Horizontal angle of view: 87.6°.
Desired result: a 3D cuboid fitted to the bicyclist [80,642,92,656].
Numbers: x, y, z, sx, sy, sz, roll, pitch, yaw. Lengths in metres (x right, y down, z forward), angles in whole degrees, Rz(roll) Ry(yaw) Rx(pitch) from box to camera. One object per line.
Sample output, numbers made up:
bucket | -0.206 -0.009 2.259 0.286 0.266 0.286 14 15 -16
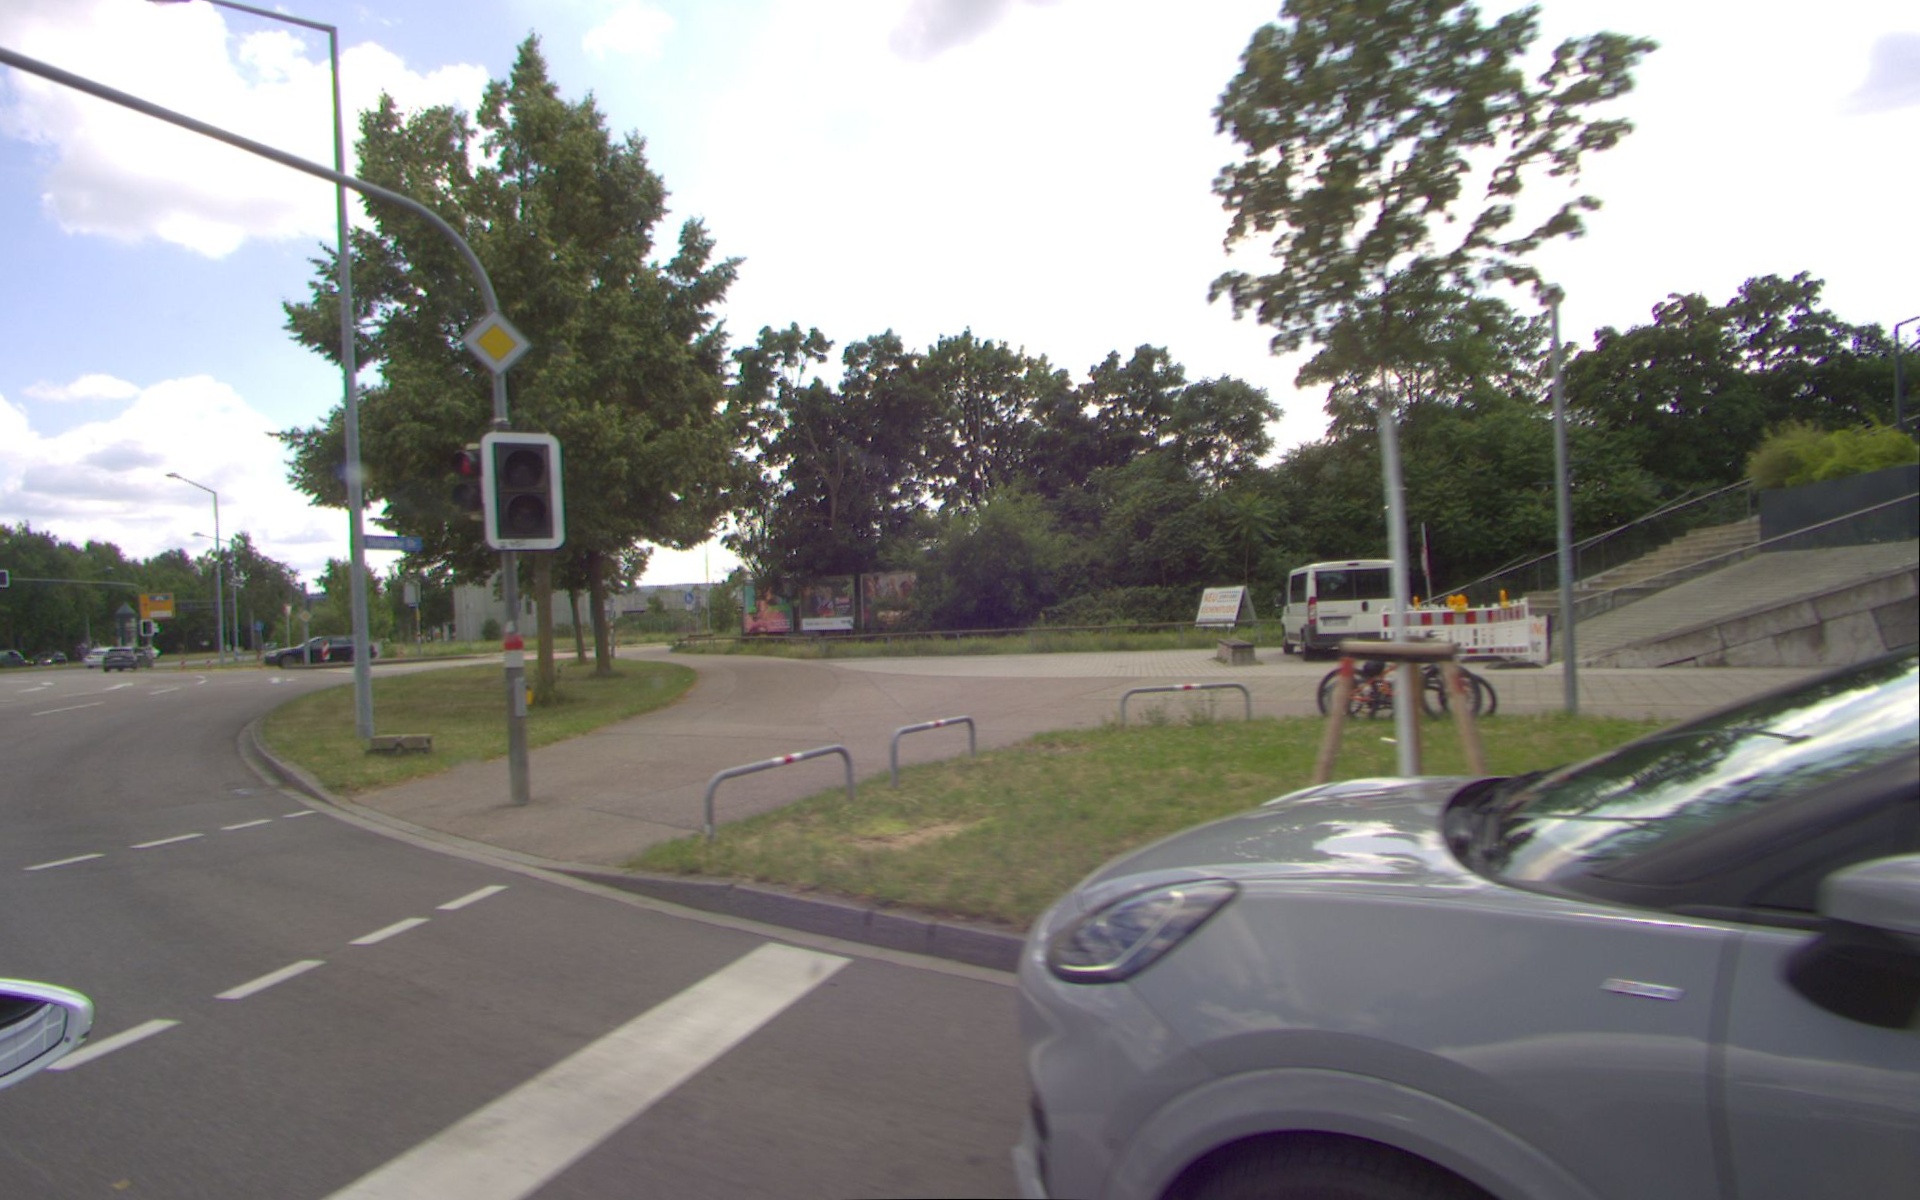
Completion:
bicyclist | -100.462 5.588 115.085 0.818 1.585 0.882 0 -1 -19

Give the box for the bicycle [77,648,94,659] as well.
bicycle | -100.438 6.113 115.005 0.750 1.234 2.012 0 -1 -19

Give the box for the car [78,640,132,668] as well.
car | -66.803 4.179 78.322 1.966 2.039 3.990 -1 -1 -21

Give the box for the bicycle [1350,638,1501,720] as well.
bicycle | 5.032 0.852 10.878 1.449 0.837 0.357 -2 0 24

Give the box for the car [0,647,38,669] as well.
car | -74.280 4.520 77.847 1.880 1.613 4.586 -2 -1 -16

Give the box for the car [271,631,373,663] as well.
car | -31.177 2.277 49.008 3.960 1.482 1.674 0 -2 -43

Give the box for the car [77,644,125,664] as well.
car | -85.148 5.329 99.314 1.811 1.823 4.779 -4 0 -18

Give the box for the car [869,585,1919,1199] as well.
car | 1.996 0.707 1.544 4.034 1.490 1.666 -3 -1 31

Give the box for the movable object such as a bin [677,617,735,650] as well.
movable object such as a bin | -31.687 4.207 125.113 2.999 3.900 7.597 -2 -2 24

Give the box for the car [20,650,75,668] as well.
car | -83.121 5.335 91.290 1.811 1.327 4.780 -4 -1 -17

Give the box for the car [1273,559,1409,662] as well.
car | 9.064 0.269 24.308 2.108 2.175 5.149 -1 -1 10

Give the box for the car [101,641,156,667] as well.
car | -57.008 3.670 68.740 1.970 1.647 4.292 -1 -2 -27

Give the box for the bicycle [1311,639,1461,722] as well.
bicycle | 4.561 0.857 10.778 1.449 0.837 0.357 -2 0 24
